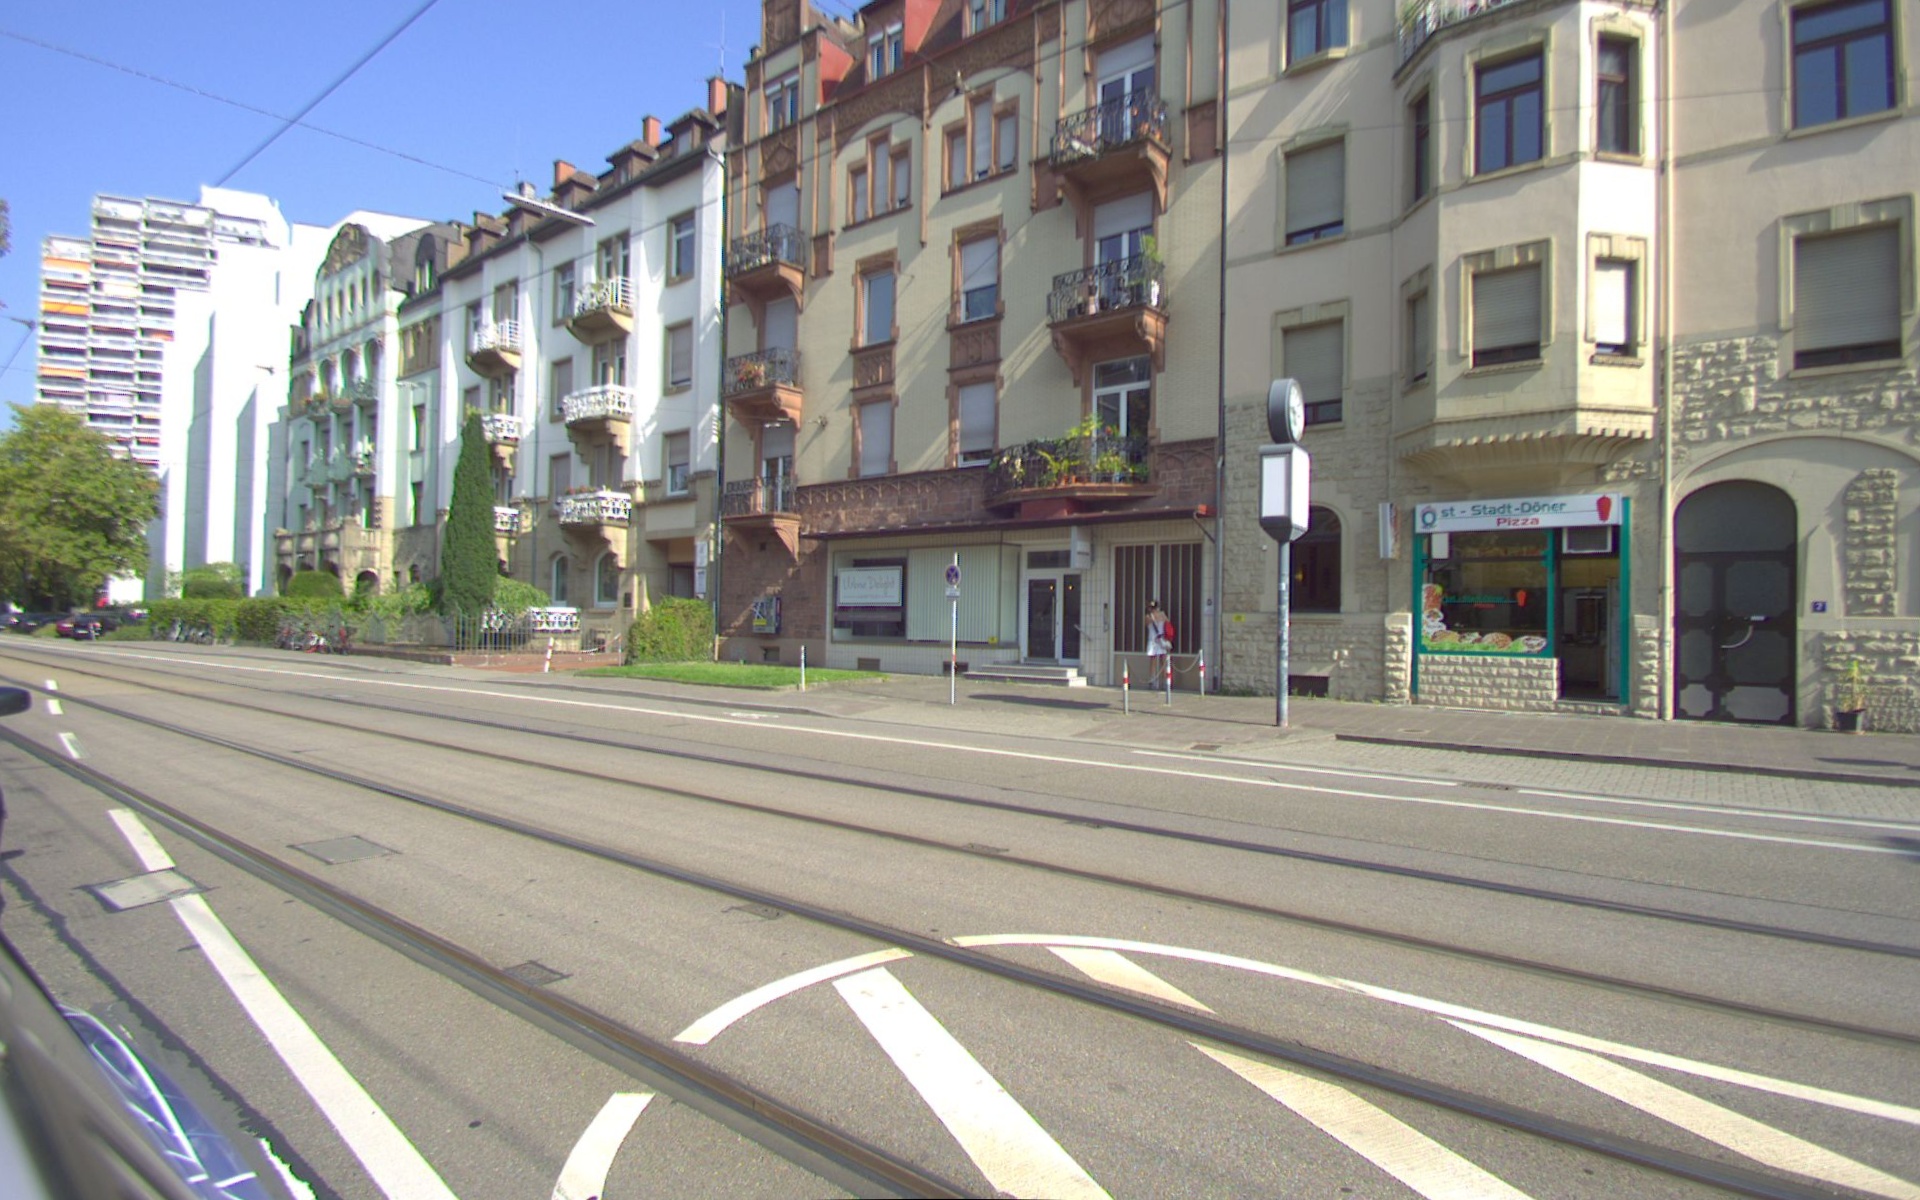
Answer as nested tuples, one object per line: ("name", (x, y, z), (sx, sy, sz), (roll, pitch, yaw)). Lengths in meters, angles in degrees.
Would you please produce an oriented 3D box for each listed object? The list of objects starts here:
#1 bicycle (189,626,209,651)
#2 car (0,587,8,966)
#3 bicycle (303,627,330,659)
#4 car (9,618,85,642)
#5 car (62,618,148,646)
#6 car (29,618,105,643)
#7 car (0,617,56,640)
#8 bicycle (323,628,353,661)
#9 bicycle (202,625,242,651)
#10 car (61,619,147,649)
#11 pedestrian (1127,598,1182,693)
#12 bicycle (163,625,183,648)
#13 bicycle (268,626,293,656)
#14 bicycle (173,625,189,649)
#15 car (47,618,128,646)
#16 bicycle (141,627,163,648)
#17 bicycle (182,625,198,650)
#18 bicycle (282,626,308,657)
("bicycle", (-33.373, 1.684, 44.362), (1.677, 1.096, 0.419), (-1, -3, 44))
("car", (-6.047, 0.725, 4.908), (4.354, 1.535, 1.590), (-1, -1, 40))
("bicycle", (-22.264, 1.487, 34.994), (1.354, 1.096, 0.366), (-1, -3, 40))
("car", (-59.497, 1.960, 66.043), (1.744, 1.539, 4.008), (1, -2, -9))
("car", (-48.997, 1.857, 58.103), (1.745, 1.539, 4.004), (1, -2, -4))
("car", (-56.961, 1.974, 64.634), (1.744, 1.539, 4.008), (1, -2, -9))
("car", (-66.402, 2.015, 71.570), (1.744, 1.539, 4.008), (1, -2, -9))
("bicycle", (-20.854, 1.478, 33.916), (1.486, 1.096, 0.366), (-1, -3, 40))
("bicycle", (-32.215, 1.663, 44.186), (0.423, 1.096, 1.385), (0, -2, 22))
("car", (-46.545, 1.832, 55.128), (1.744, 1.539, 4.008), (1, -2, -9))
("pedestrian", (3.945, 0.907, 20.495), (0.829, 1.874, 0.766), (-1, -2, 38))
("bicycle", (-37.048, 1.712, 47.627), (1.676, 1.096, 0.420), (-1, -3, 42))
("bicycle", (-25.582, 1.548, 38.083), (1.354, 1.096, 0.366), (-1, -3, 40))
("bicycle", (-35.591, 1.690, 46.237), (0.419, 1.096, 1.679), (3, -3, -41))
("car", (-51.385, 1.880, 59.673), (1.744, 1.539, 4.008), (1, -2, -9))
("bicycle", (-39.667, 1.840, 49.683), (1.768, 0.985, 0.420), (-1, -3, 39))
("bicycle", (-34.878, 1.697, 45.829), (0.419, 1.096, 1.679), (3, -3, -41))
("bicycle", (-24.262, 1.517, 36.903), (1.354, 1.096, 0.366), (-1, -3, 40))
